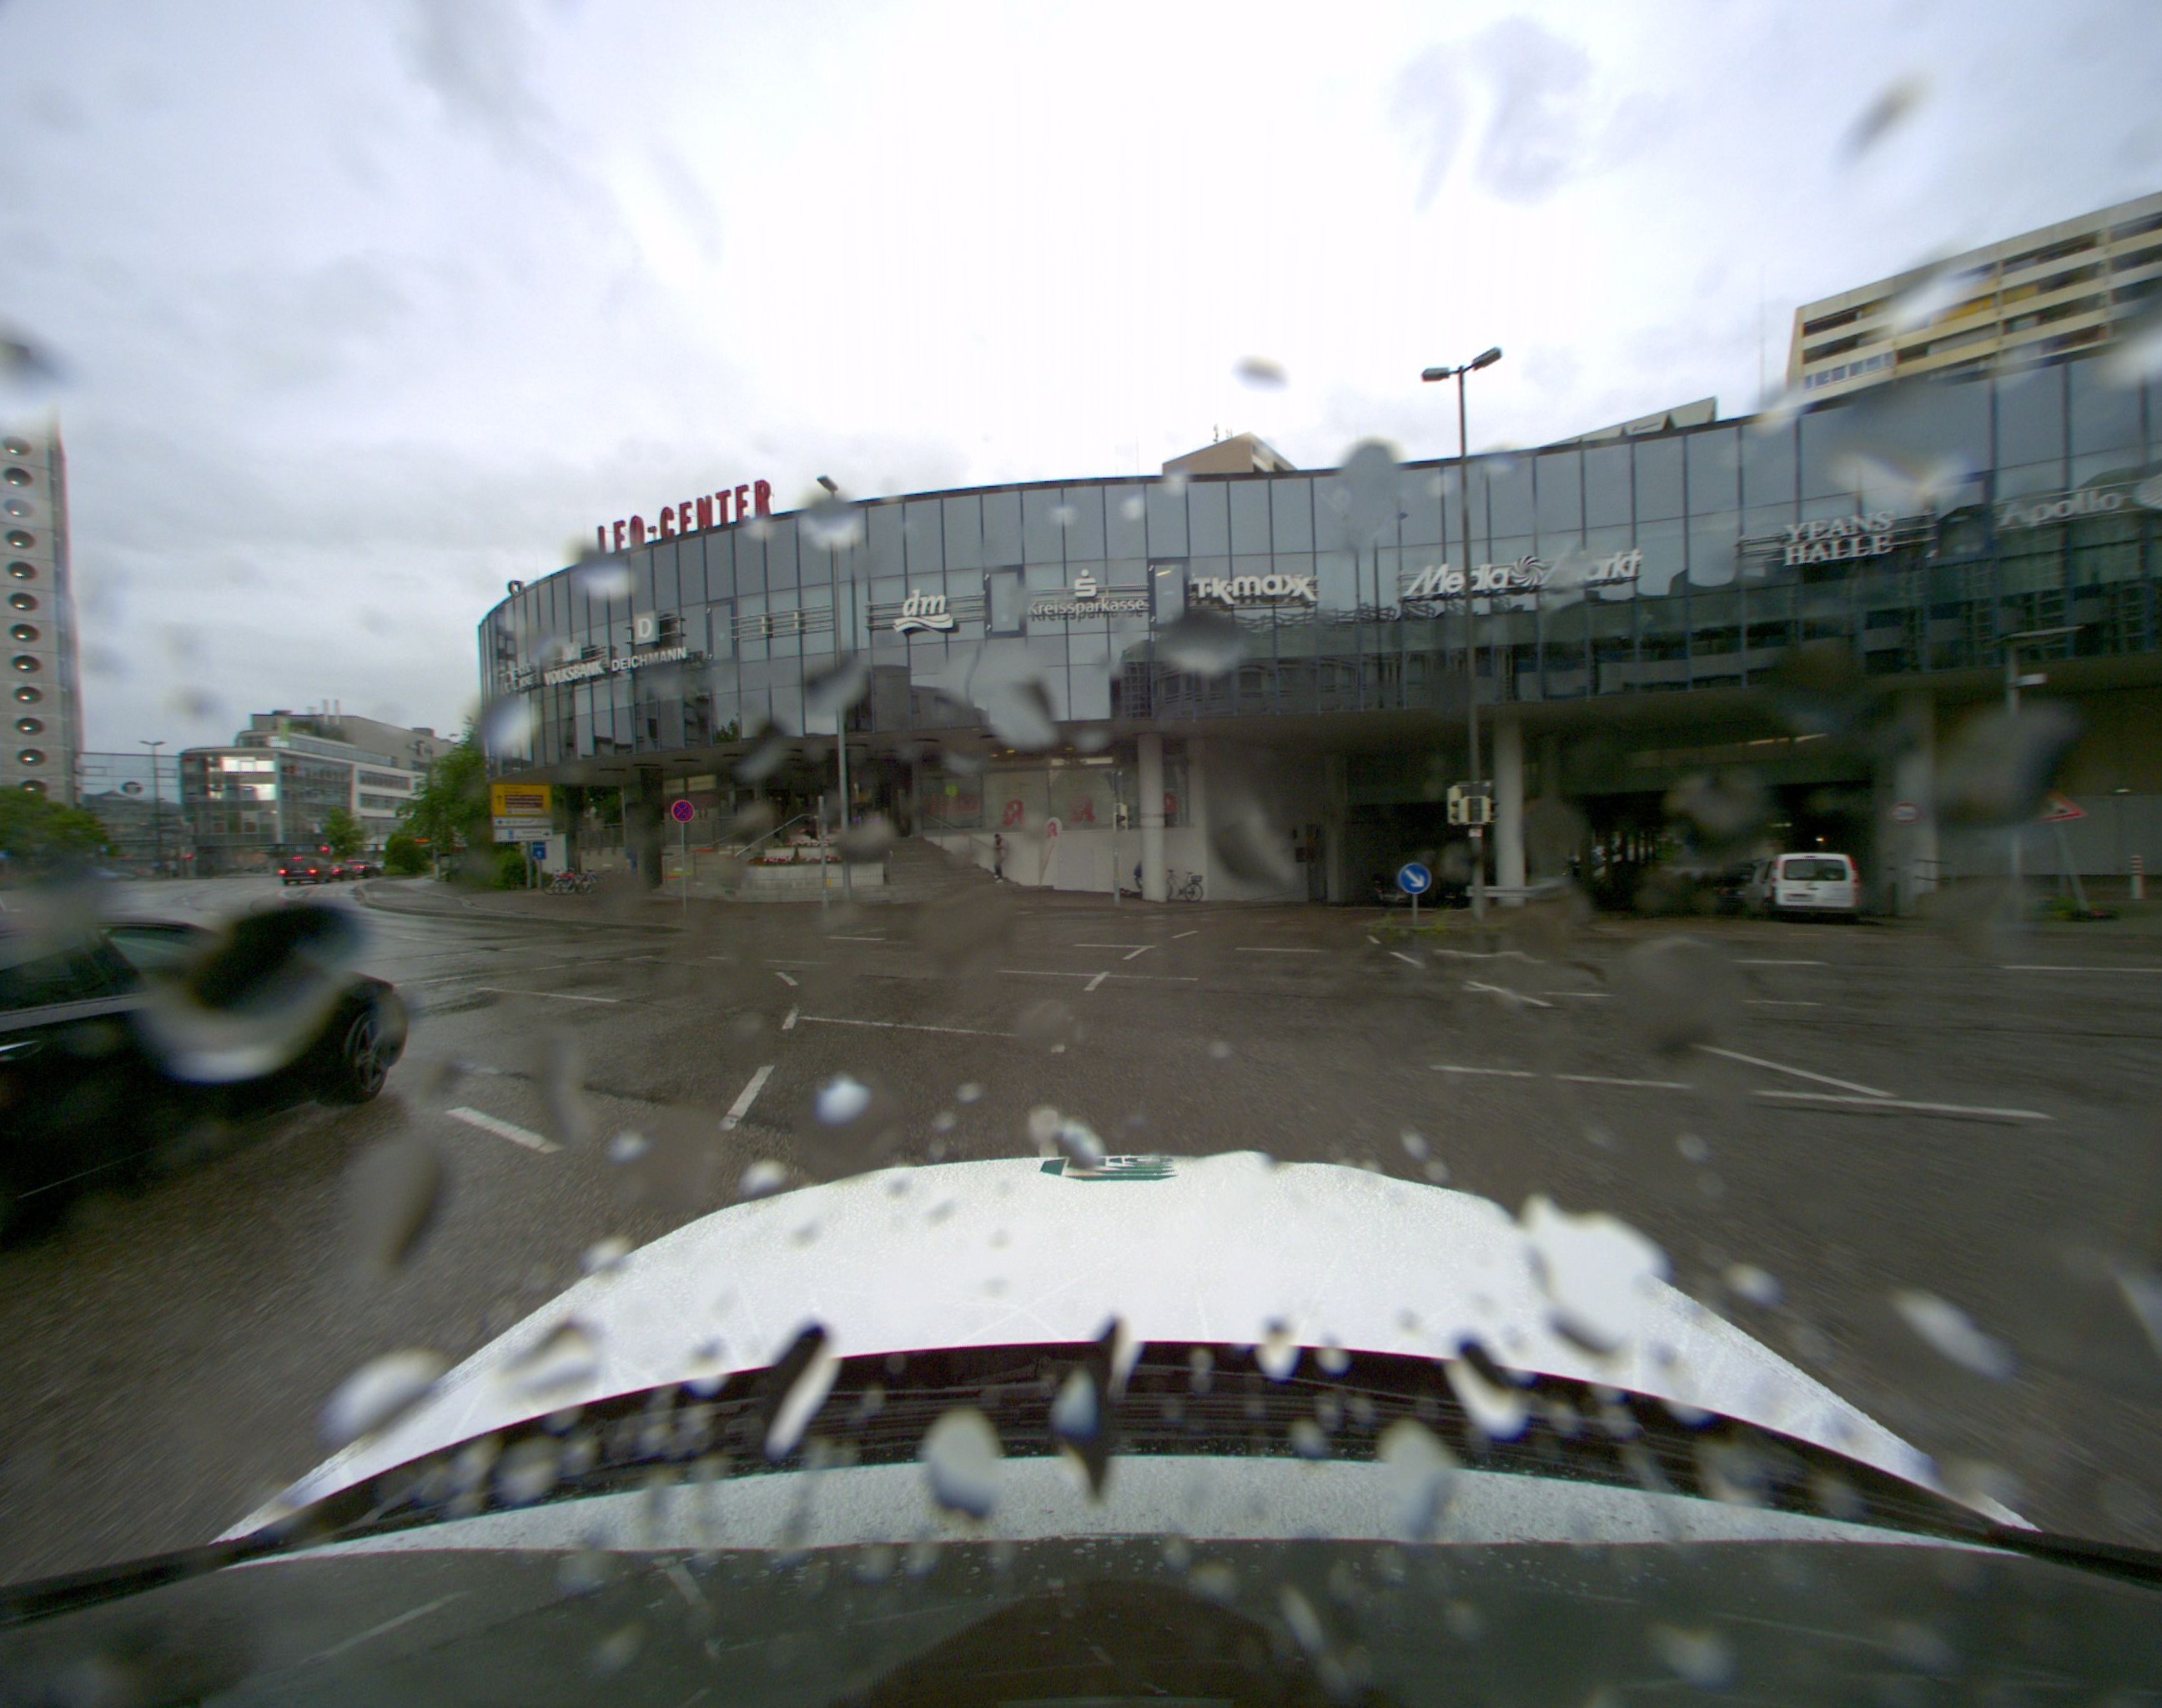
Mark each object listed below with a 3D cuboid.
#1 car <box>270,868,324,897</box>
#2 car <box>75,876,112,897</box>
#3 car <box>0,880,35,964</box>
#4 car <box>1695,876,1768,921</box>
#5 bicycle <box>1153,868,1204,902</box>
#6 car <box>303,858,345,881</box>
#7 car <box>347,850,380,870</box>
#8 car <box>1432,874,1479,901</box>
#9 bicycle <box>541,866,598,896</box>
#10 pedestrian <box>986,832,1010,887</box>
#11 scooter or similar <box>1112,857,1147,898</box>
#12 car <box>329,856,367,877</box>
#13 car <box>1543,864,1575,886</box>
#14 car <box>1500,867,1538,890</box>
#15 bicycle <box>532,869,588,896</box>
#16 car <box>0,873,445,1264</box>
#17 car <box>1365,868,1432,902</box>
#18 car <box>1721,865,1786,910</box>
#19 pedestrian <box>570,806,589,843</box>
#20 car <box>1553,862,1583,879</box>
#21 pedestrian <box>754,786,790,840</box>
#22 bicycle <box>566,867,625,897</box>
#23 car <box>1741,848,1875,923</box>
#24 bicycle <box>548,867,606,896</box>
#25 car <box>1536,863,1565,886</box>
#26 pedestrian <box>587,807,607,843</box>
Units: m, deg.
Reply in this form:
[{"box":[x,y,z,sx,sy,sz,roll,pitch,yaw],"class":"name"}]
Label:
[{"box":[-57.525,2.039,59.838,2.057,1.895,4.097,-2,2,-33],"class":"car"},{"box":[-87.963,2.857,72.547,1.708,1.632,3.468,-2,2,-45],"class":"car"},{"box":[-21.011,1.262,15.115,3.941,1.441,1.758,-1,1,35],"class":"car"},{"box":[22.971,1.531,28.708,1.741,1.464,3.966,-2,-3,42],"class":"car"},{"box":[3.335,1.069,27.834,1.581,1.018,0.451,4,0,-10],"class":"bicycle"},{"box":[-61.362,1.226,66.075,1.900,1.672,3.958,-2,2,-34],"class":"car"},{"box":[-68.197,0.558,77.422,1.842,1.770,3.815,-2,2,-34],"class":"car"},{"box":[22.248,1.965,48.321,1.753,1.464,3.900,-2,-2,37],"class":"car"},{"box":[-21.400,1.119,34.109,0.621,1.033,1.867,-2,3,39],"class":"bicycle"},{"box":[-2.924,0.193,28.602,0.651,1.908,0.597,0,1,13],"class":"pedestrian"},{"box":[1.655,0.788,27.952,1.160,1.372,0.490,0,1,6],"class":"scooter or similar"},{"box":[-64.583,1.065,71.769,1.924,1.724,3.769,-2,2,-34],"class":"car"},{"box":[41.509,1.813,70.640,1.974,1.663,4.026,1,1,37],"class":"car"},{"box":[33.463,1.871,62.175,1.896,1.588,3.964,-2,0,37],"class":"car"},{"box":[-22.011,1.182,34.455,0.529,0.951,1.867,0,4,42],"class":"bicycle"},{"box":[-5.312,0.895,4.153,1.665,1.481,4.075,-2,0,-13],"class":"car"},{"box":[14.978,1.491,38.321,1.874,1.470,4.052,-1,-4,37],"class":"car"},{"box":[25.650,1.325,31.166,1.617,1.612,4.288,-2,-4,36],"class":"car"},{"box":[-23.637,-1.379,38.389,0.592,1.713,0.658,1,1,44],"class":"pedestrian"},{"box":[46.045,1.582,76.971,1.974,1.464,4.026,-2,0,37],"class":"car"},{"box":[-11.796,-1.557,31.072,0.822,2.013,0.958,1,1,27],"class":"pedestrian"},{"box":[-19.456,1.101,32.690,0.624,1.023,1.867,-2,2,39],"class":"bicycle"},{"box":[19.160,0.773,21.688,1.907,1.797,4.323,-2,-1,32],"class":"car"},{"box":[-20.814,1.124,33.640,0.639,1.042,1.867,-2,3,39],"class":"bicycle"},{"box":[38.086,1.666,66.067,1.818,1.727,4.026,-1,0,32],"class":"car"},{"box":[-23.080,-1.388,38.840,0.592,1.713,0.658,1,1,44],"class":"pedestrian"}]
